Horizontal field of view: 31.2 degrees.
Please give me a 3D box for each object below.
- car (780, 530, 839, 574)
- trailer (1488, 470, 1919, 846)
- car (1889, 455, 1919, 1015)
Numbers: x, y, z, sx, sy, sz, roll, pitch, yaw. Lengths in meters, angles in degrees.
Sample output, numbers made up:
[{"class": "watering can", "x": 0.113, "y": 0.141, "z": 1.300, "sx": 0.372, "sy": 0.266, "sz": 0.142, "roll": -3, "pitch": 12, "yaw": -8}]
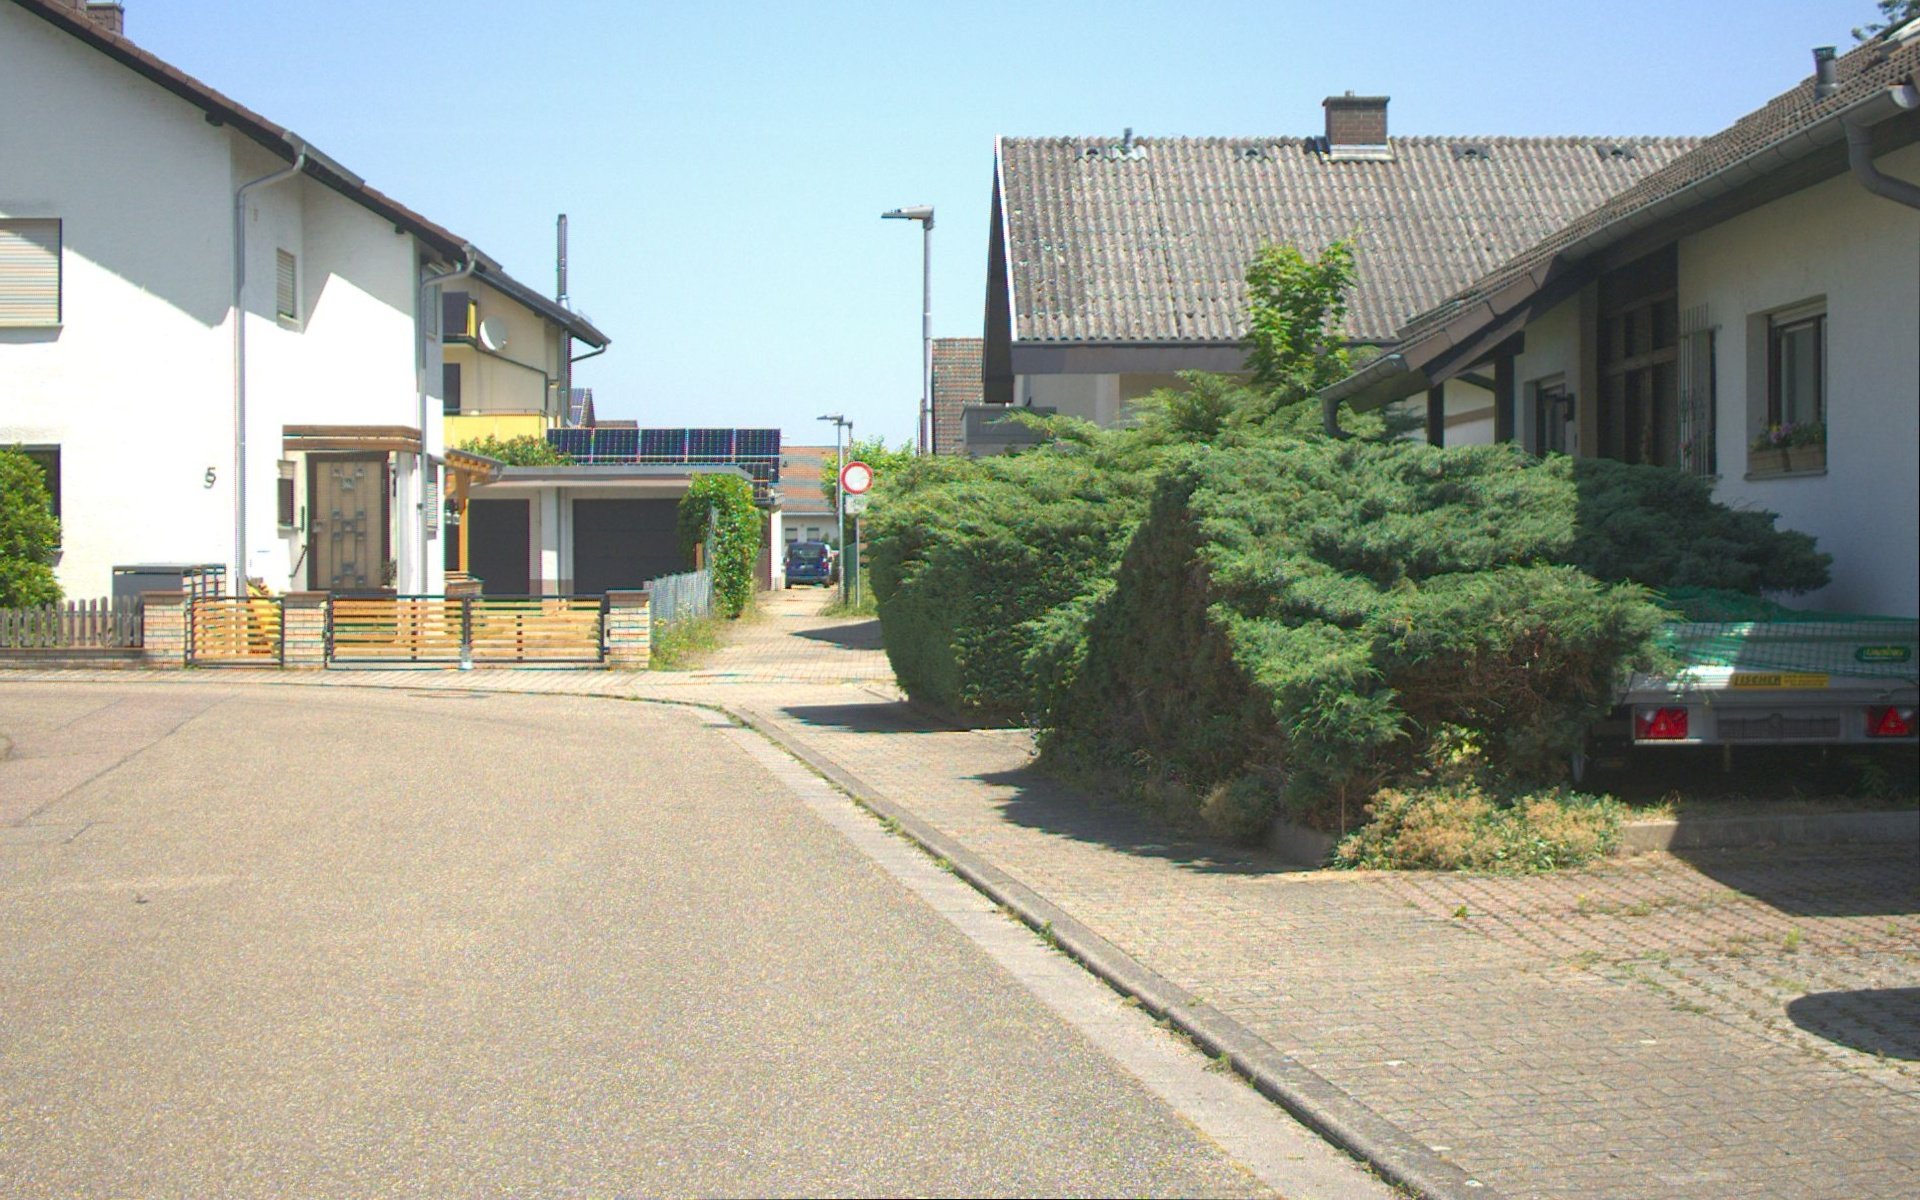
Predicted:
[{"class": "car", "x": -5.891, "y": -1.889, "z": 135.243, "sx": 2.193, "sy": 1.695, "sz": 3.807, "roll": 0, "pitch": 1, "yaw": -1}, {"class": "trailer", "x": 3.742, "y": 0.214, "z": 17.291, "sx": 1.587, "sy": 1.666, "sz": 3.297, "roll": -2, "pitch": 2, "yaw": -1}, {"class": "car", "x": 5.180, "y": 0.357, "z": 9.708, "sx": 4.627, "sy": 1.696, "sz": 1.709, "roll": -2, "pitch": 1, "yaw": 2}]
